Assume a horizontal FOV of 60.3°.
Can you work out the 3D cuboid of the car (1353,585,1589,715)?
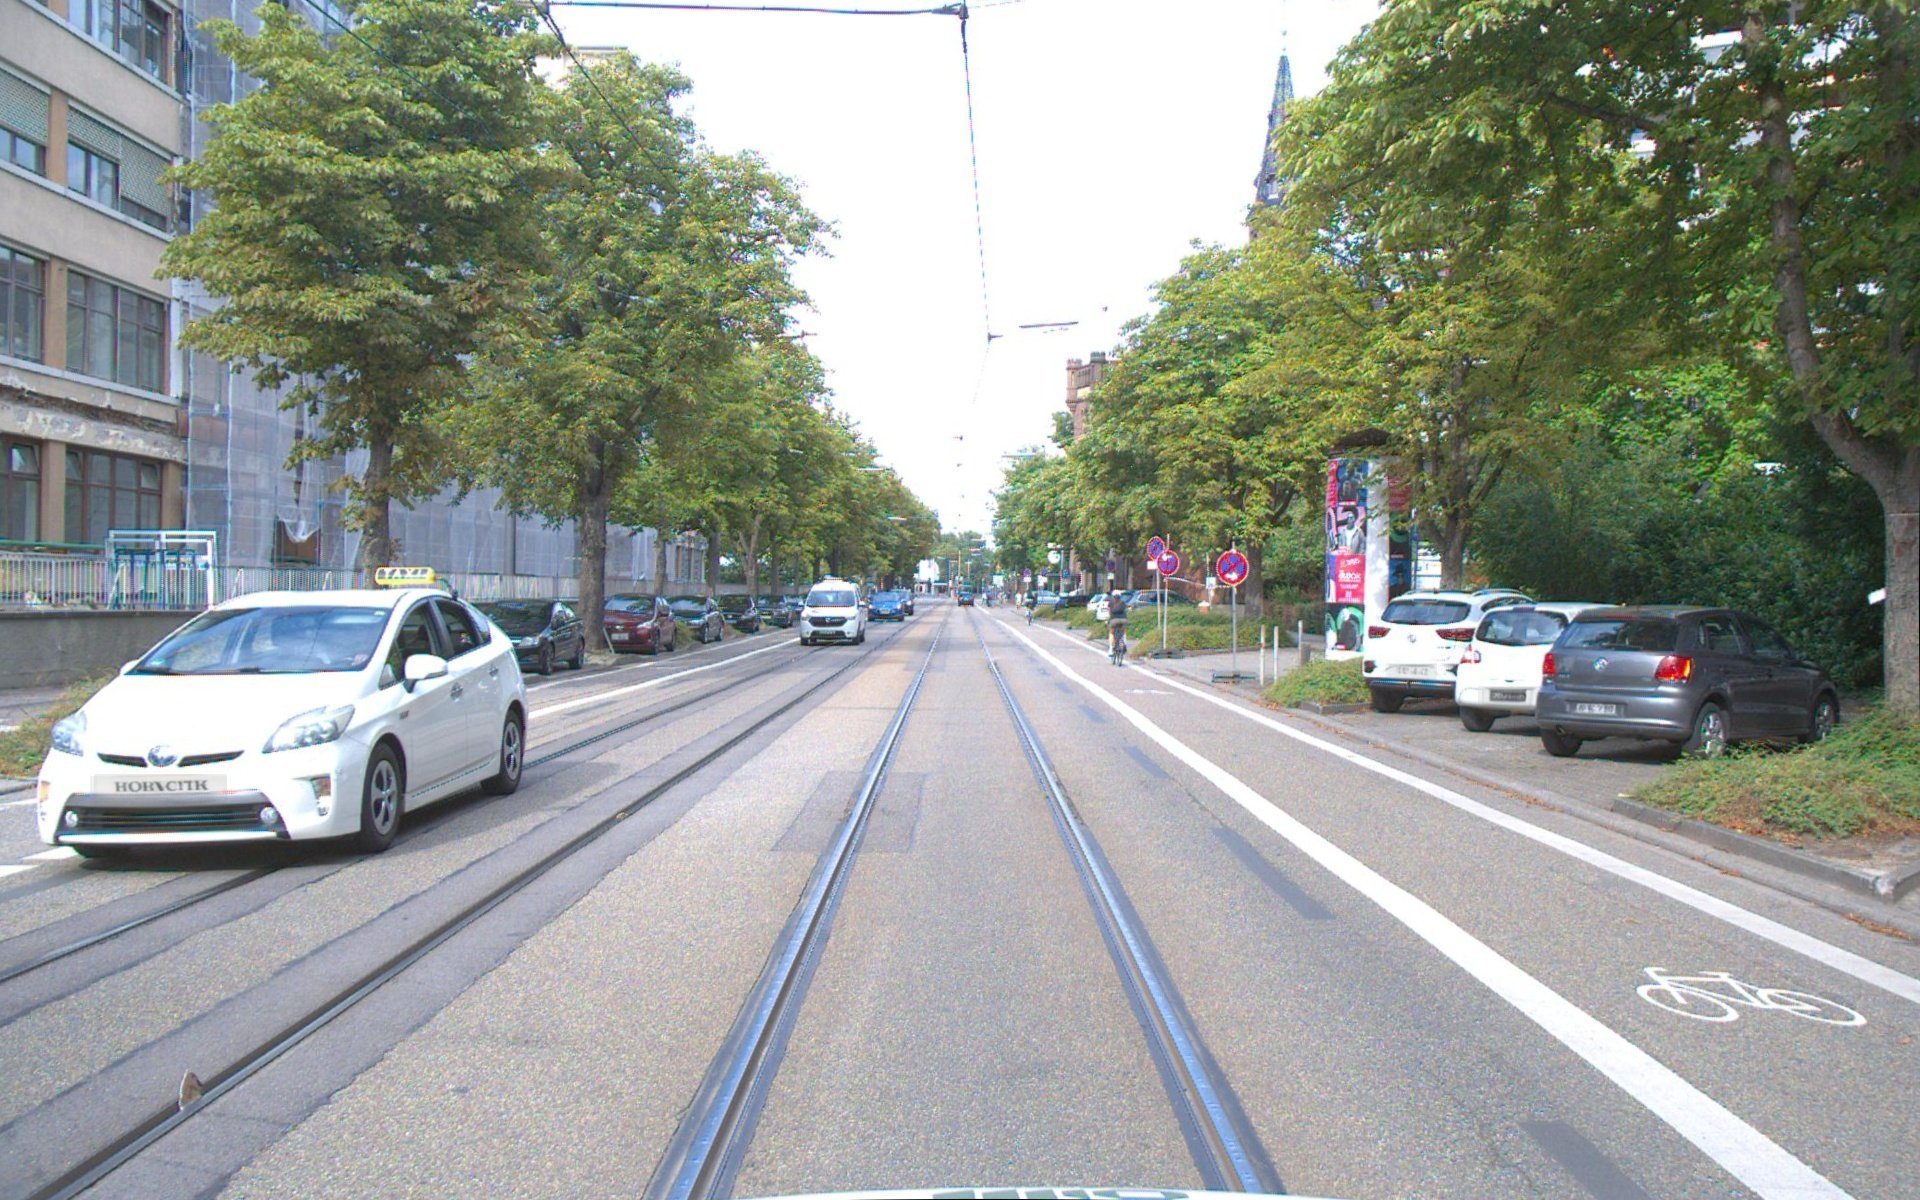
[{"bbox_3d":[7.048,0.636,22.644,1.654,1.630,3.621,0,0,44],"label":"car"}]

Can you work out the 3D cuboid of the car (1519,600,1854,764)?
[{"bbox_3d":[7.305,0.745,16.504,3.612,1.444,1.658,1,0,-40],"label":"car"}]

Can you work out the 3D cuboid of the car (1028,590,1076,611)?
[{"bbox_3d":[8.072,0.038,144.867,3.910,1.722,1.998,1,0,-6],"label":"car"}]

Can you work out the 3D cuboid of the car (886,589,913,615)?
[{"bbox_3d":[-3.967,0.136,109.085,1.697,1.657,4.377,-1,0,-1],"label":"car"}]

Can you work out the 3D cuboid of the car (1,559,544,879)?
[{"bbox_3d":[-4.065,0.597,10.644,1.697,1.640,4.334,0,0,0],"label":"car"}]

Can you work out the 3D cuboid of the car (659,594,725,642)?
[{"bbox_3d":[-8.381,0.538,51.973,1.558,1.427,3.961,1,0,-2],"label":"car"}]

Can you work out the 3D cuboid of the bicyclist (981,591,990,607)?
[{"bbox_3d":[2.581,-0.115,167.781,0.828,1.531,0.769,1,0,7],"label":"bicyclist"}]

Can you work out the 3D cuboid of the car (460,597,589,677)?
[{"bbox_3d":[-8.381,0.678,32.114,1.558,1.427,3.961,1,0,-2],"label":"car"}]

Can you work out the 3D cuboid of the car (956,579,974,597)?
[{"bbox_3d":[0.535,-1.309,181.108,1.758,1.855,4.677,1,0,-1],"label":"car"}]

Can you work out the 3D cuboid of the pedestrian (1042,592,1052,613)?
[{"bbox_3d":[7.586,0.246,144.711,0.732,1.821,0.731,1,-1,15],"label":"pedestrian"}]

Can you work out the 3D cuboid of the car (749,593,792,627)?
[{"bbox_3d":[-8.294,0.436,72.585,1.558,1.427,3.961,1,0,-2],"label":"car"}]

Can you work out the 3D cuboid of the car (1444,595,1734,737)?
[{"bbox_3d":[7.435,0.721,19.433,3.612,1.500,1.658,1,0,-40],"label":"car"}]

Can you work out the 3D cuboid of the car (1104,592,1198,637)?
[{"bbox_3d":[7.148,0.529,61.688,1.654,1.630,3.621,0,0,44],"label":"car"}]

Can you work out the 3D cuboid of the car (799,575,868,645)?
[{"bbox_3d":[-3.661,0.263,48.519,1.697,1.917,4.378,1,0,0],"label":"car"}]

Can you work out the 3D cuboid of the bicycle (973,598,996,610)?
[{"bbox_3d":[2.527,0.433,167.785,2.226,1.210,0.769,1,0,7],"label":"bicycle"}]

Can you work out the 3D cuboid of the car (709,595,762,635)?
[{"bbox_3d":[-8.412,0.541,62.285,1.558,1.427,3.961,1,0,-2],"label":"car"}]

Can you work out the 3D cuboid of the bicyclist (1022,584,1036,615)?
[{"bbox_3d":[3.322,-0.028,79.851,0.645,1.522,0.929,1,0,0],"label":"bicyclist"}]

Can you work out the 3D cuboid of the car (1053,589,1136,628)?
[{"bbox_3d":[5.760,0.372,70.614,1.654,1.630,3.621,0,0,44],"label":"car"}]

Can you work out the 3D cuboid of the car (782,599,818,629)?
[{"bbox_3d":[-7.989,0.680,82.808,1.558,1.427,3.961,1,0,-2],"label":"car"}]

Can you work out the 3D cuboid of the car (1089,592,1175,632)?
[{"bbox_3d":[7.147,0.504,68.486,1.654,1.630,3.621,0,0,44],"label":"car"}]

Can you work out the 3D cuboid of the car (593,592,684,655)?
[{"bbox_3d":[-8.265,0.566,42.774,1.602,1.522,3.962,1,0,-1],"label":"car"}]

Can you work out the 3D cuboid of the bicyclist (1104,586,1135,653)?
[{"bbox_3d":[3.584,0.432,37.211,0.581,1.485,0.875,1,0,-2],"label":"bicyclist"}]

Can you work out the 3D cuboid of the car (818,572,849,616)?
[{"bbox_3d":[-8.097,-0.374,106.366,1.686,2.751,5.468,1,0,-2],"label":"car"}]

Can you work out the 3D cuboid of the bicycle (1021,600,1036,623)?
[{"bbox_3d":[3.309,0.547,79.847,0.650,1.062,1.841,1,0,0],"label":"bicycle"}]

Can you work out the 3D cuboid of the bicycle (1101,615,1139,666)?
[{"bbox_3d":[3.579,0.891,37.068,0.581,1.062,1.977,1,0,-2],"label":"bicycle"}]

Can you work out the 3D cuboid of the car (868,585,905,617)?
[{"bbox_3d":[-3.715,0.030,84.033,1.697,1.522,4.378,0,1,0],"label":"car"}]
